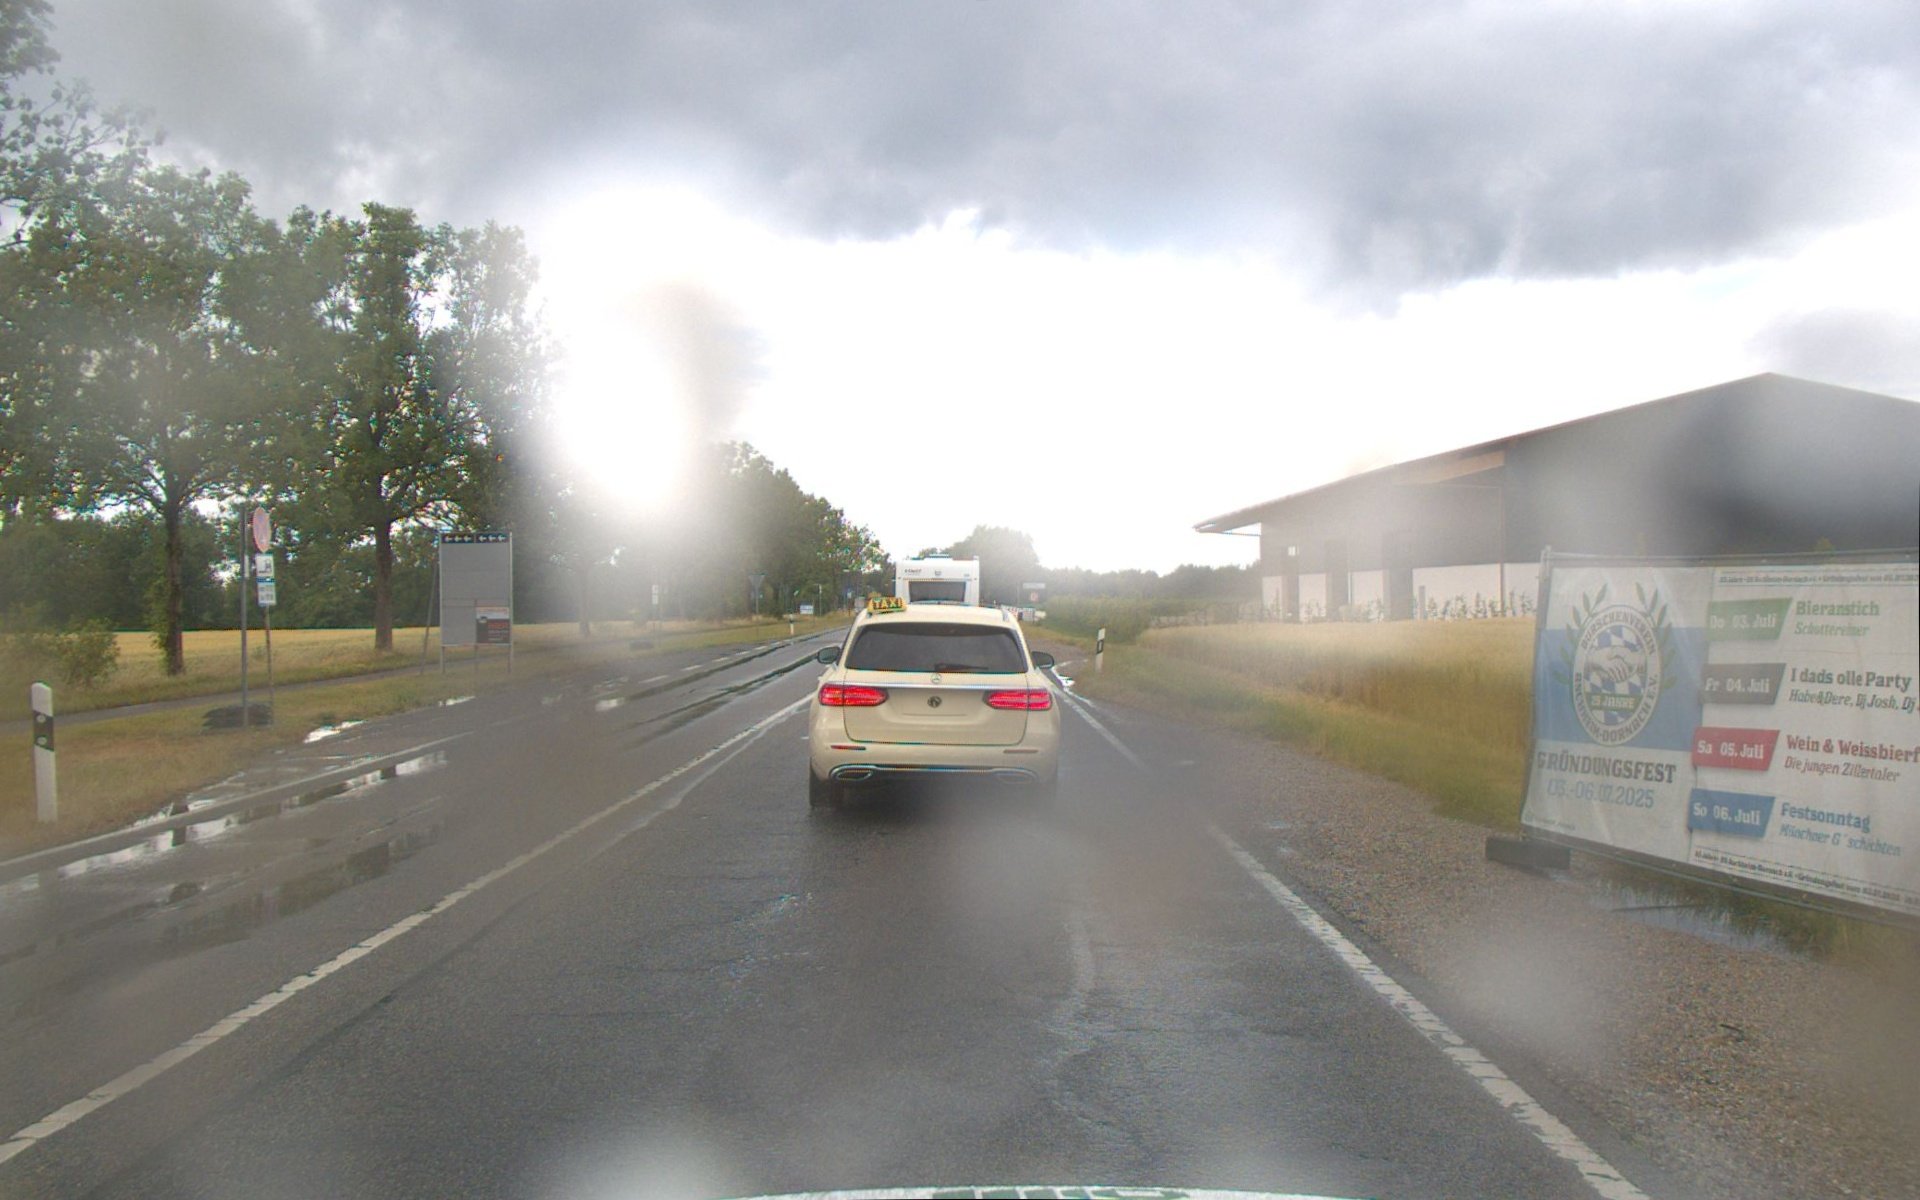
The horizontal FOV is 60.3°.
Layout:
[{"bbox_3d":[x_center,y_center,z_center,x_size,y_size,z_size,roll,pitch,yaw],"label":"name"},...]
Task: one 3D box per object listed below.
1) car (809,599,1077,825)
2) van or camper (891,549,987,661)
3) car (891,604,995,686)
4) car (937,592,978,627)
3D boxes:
[{"bbox_3d":[-0.111,0.739,12.931,1.760,1.490,4.030,0,0,0],"label":"car"},{"bbox_3d":[-0.518,0.133,46.324,2.446,2.880,5.934,-2,0,0],"label":"van or camper"},{"bbox_3d":[-0.335,0.802,31.398,1.856,1.454,3.927,0,0,-1],"label":"car"},{"bbox_3d":[-0.112,0.427,76.963,1.856,1.618,3.927,0,0,0],"label":"car"}]
